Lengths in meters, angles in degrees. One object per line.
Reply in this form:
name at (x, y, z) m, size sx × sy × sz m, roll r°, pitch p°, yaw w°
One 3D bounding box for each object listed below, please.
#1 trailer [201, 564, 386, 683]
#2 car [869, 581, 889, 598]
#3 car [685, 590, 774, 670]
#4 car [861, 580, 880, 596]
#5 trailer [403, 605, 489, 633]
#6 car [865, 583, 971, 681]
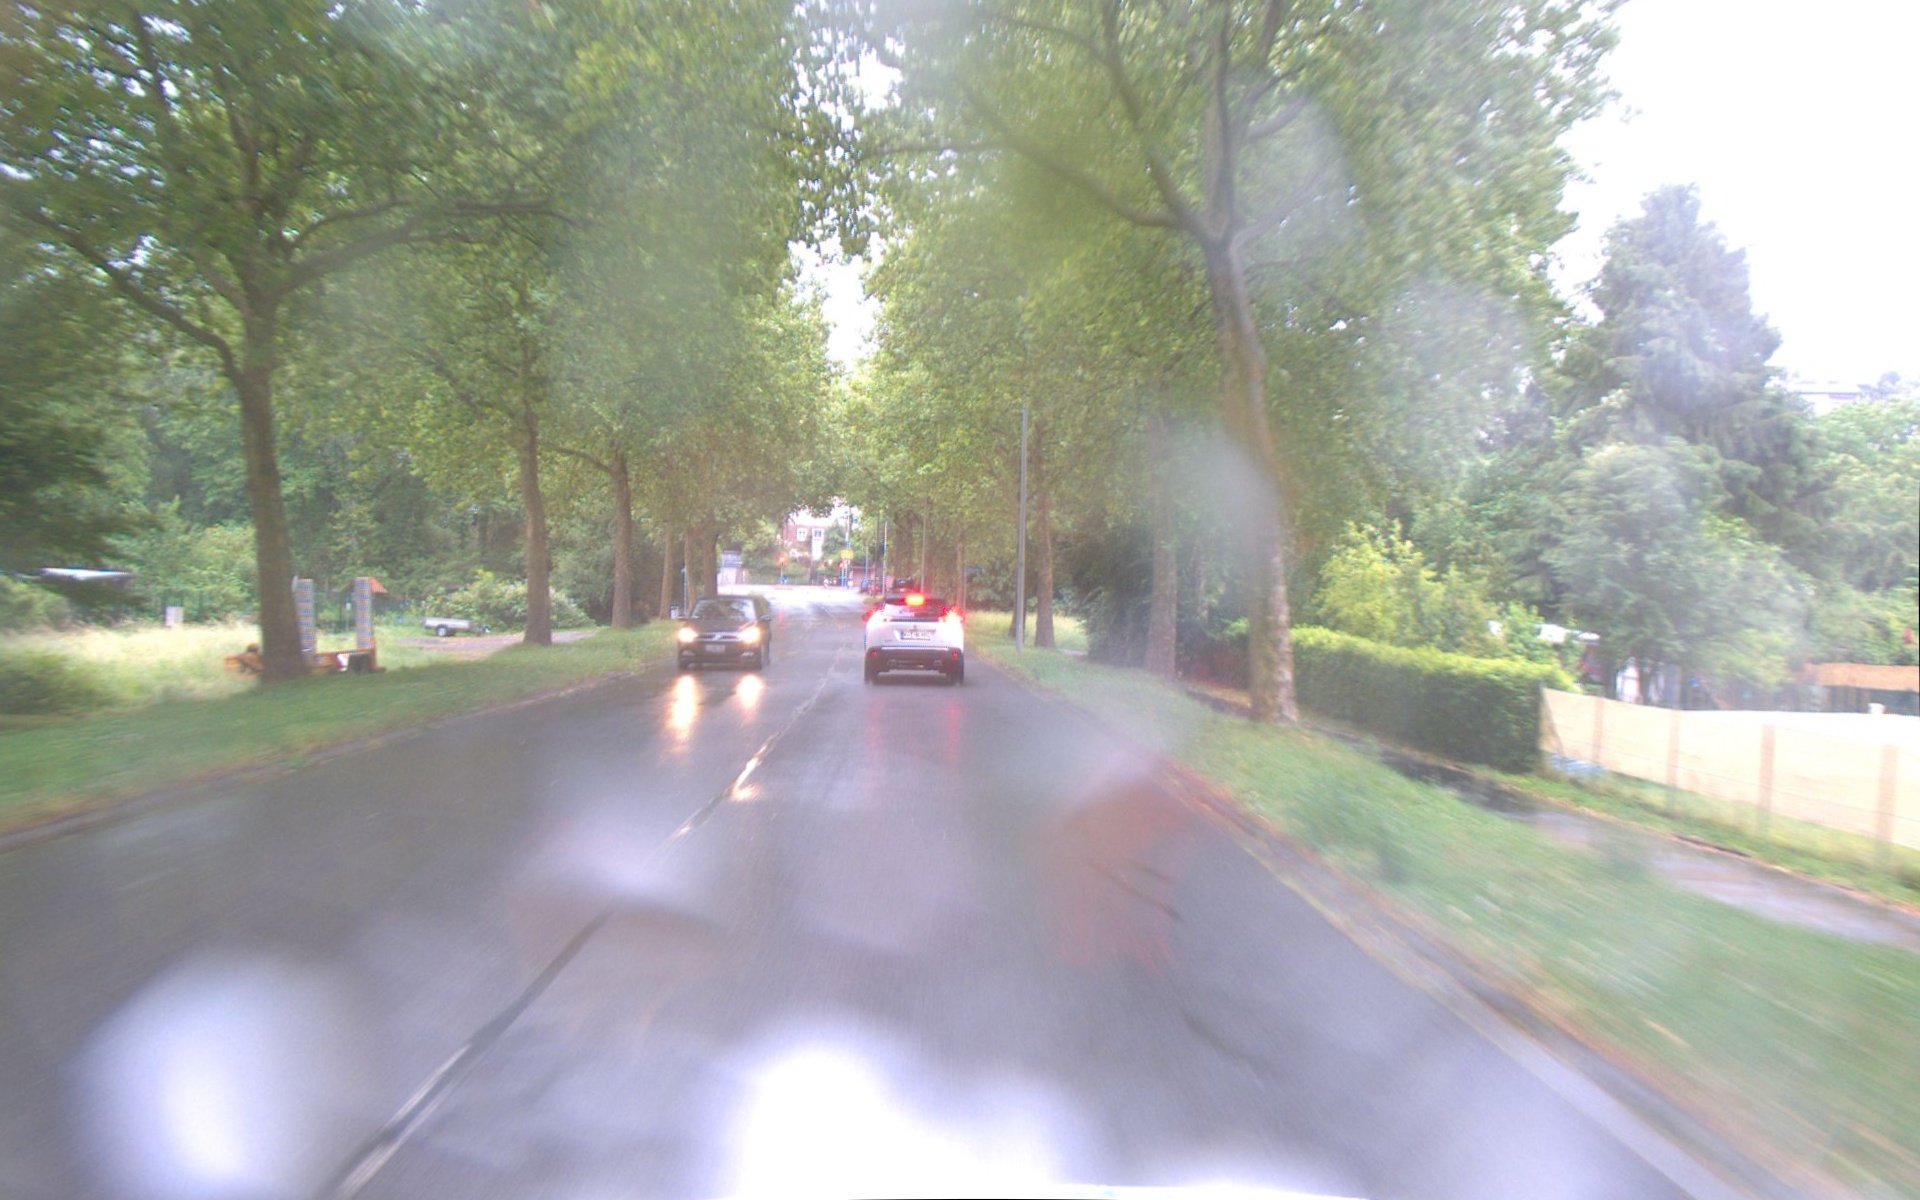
trailer at (-15.940, 0.518, 39.935) m, size 2.435 × 2.612 × 5.330 m, roll 2°, pitch 0°, yaw -2°
car at (-8.150, -1.061, 167.001) m, size 1.790 × 1.624 × 3.653 m, roll 2°, pitch 0°, yaw -1°
car at (-4.736, 0.586, 34.393) m, size 1.674 × 1.512 × 3.876 m, roll 2°, pitch 0°, yaw -6°
car at (-9.562, -1.254, 176.634) m, size 1.790 × 1.624 × 3.653 m, roll 2°, pitch 0°, yaw -1°
trailer at (-23.478, 0.859, 75.642) m, size 3.488 × 1.199 × 1.818 m, roll 0°, pitch 1°, yaw -10°
car at (-0.715, 0.521, 29.974) m, size 1.757 × 1.606 × 3.844 m, roll 2°, pitch 1°, yaw 0°
